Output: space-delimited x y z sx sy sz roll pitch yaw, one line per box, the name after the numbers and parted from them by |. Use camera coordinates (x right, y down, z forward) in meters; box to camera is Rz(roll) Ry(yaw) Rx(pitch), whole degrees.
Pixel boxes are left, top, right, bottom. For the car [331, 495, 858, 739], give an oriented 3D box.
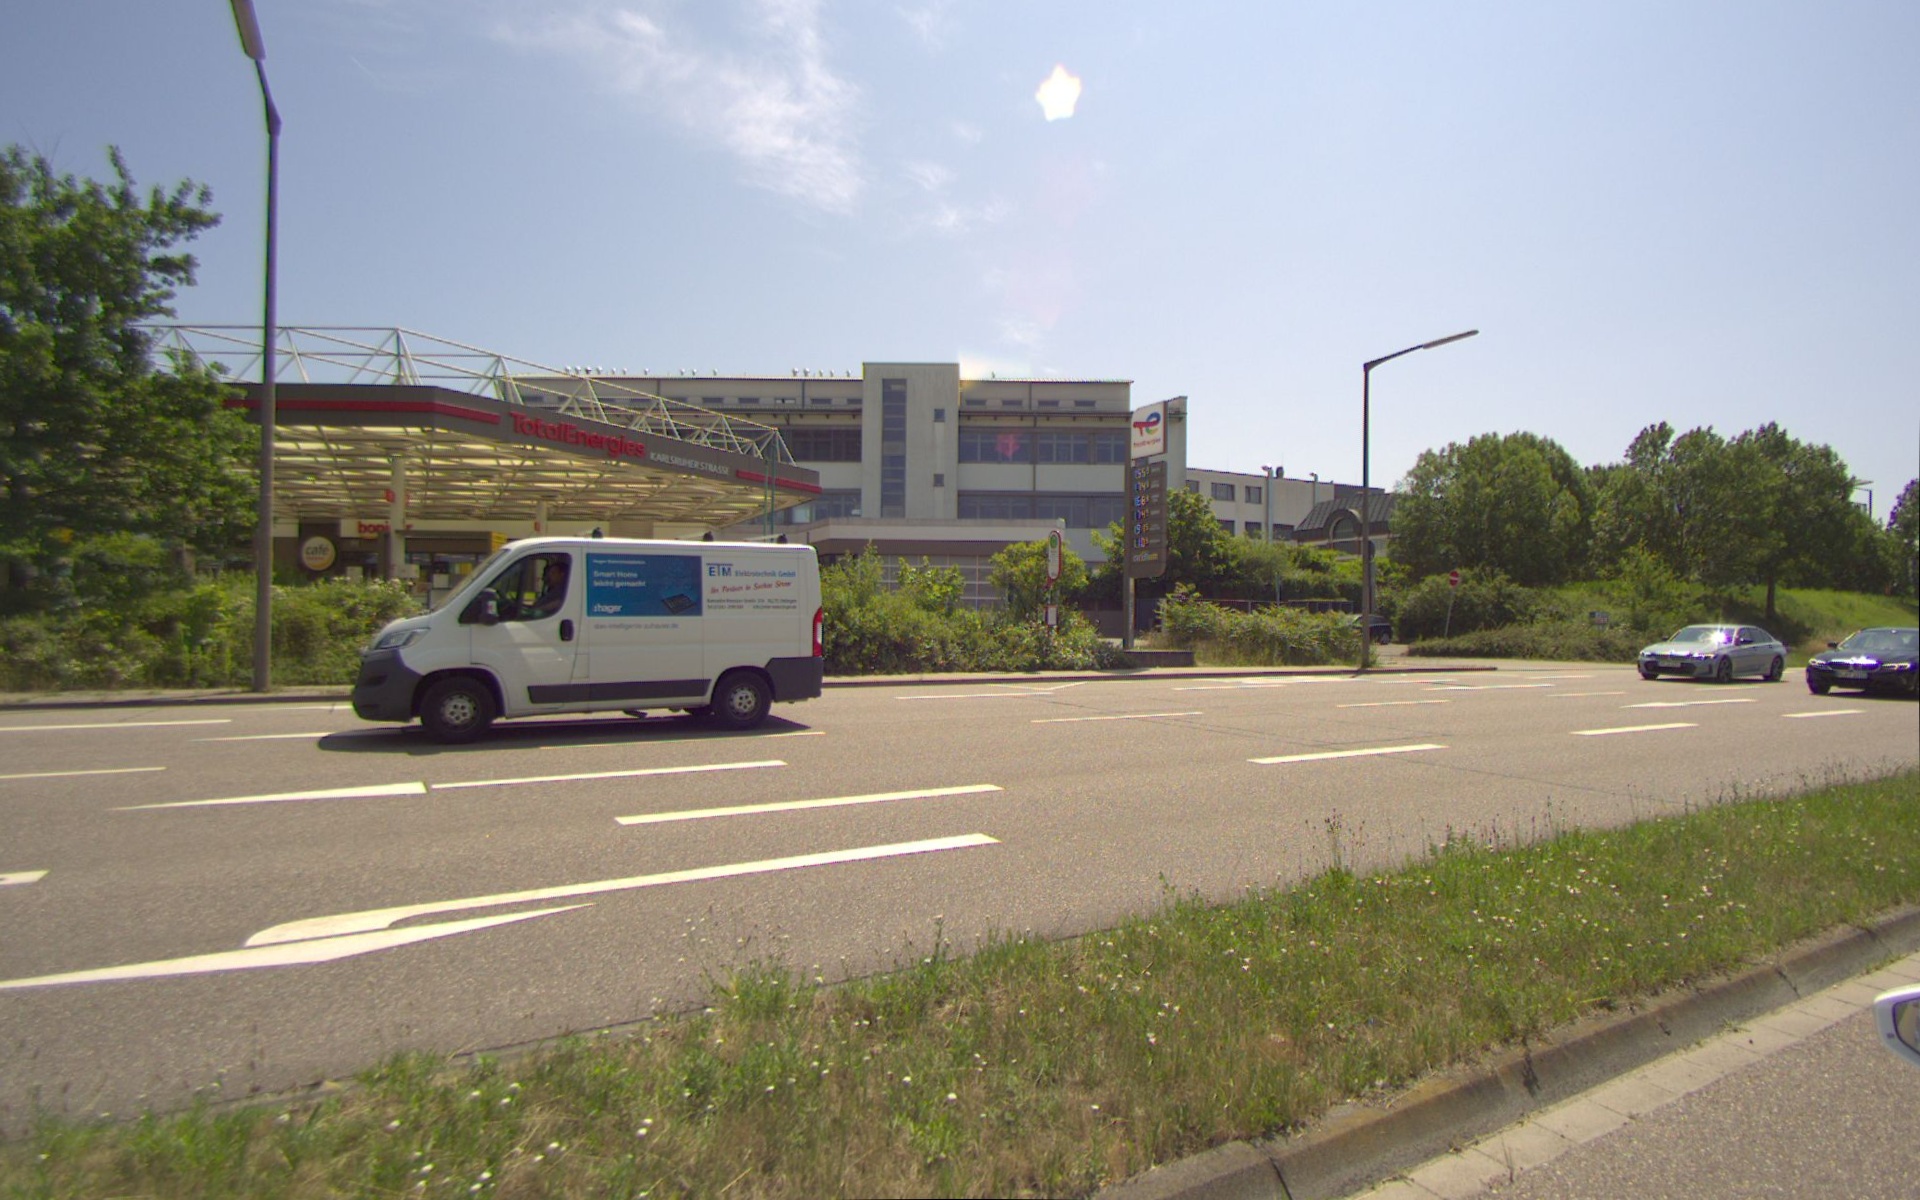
-4.142 0.214 11.817 5.385 2.303 2.238 2 0 -30 | car

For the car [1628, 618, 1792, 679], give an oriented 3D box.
19.528 1.222 26.098 4.797 1.468 1.821 1 -1 -32 | car

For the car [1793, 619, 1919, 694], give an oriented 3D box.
20.067 1.173 21.615 4.507 1.477 1.724 1 -1 -28 | car

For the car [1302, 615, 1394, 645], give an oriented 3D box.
18.875 1.470 48.853 3.940 1.428 1.874 1 -1 -21 | car
